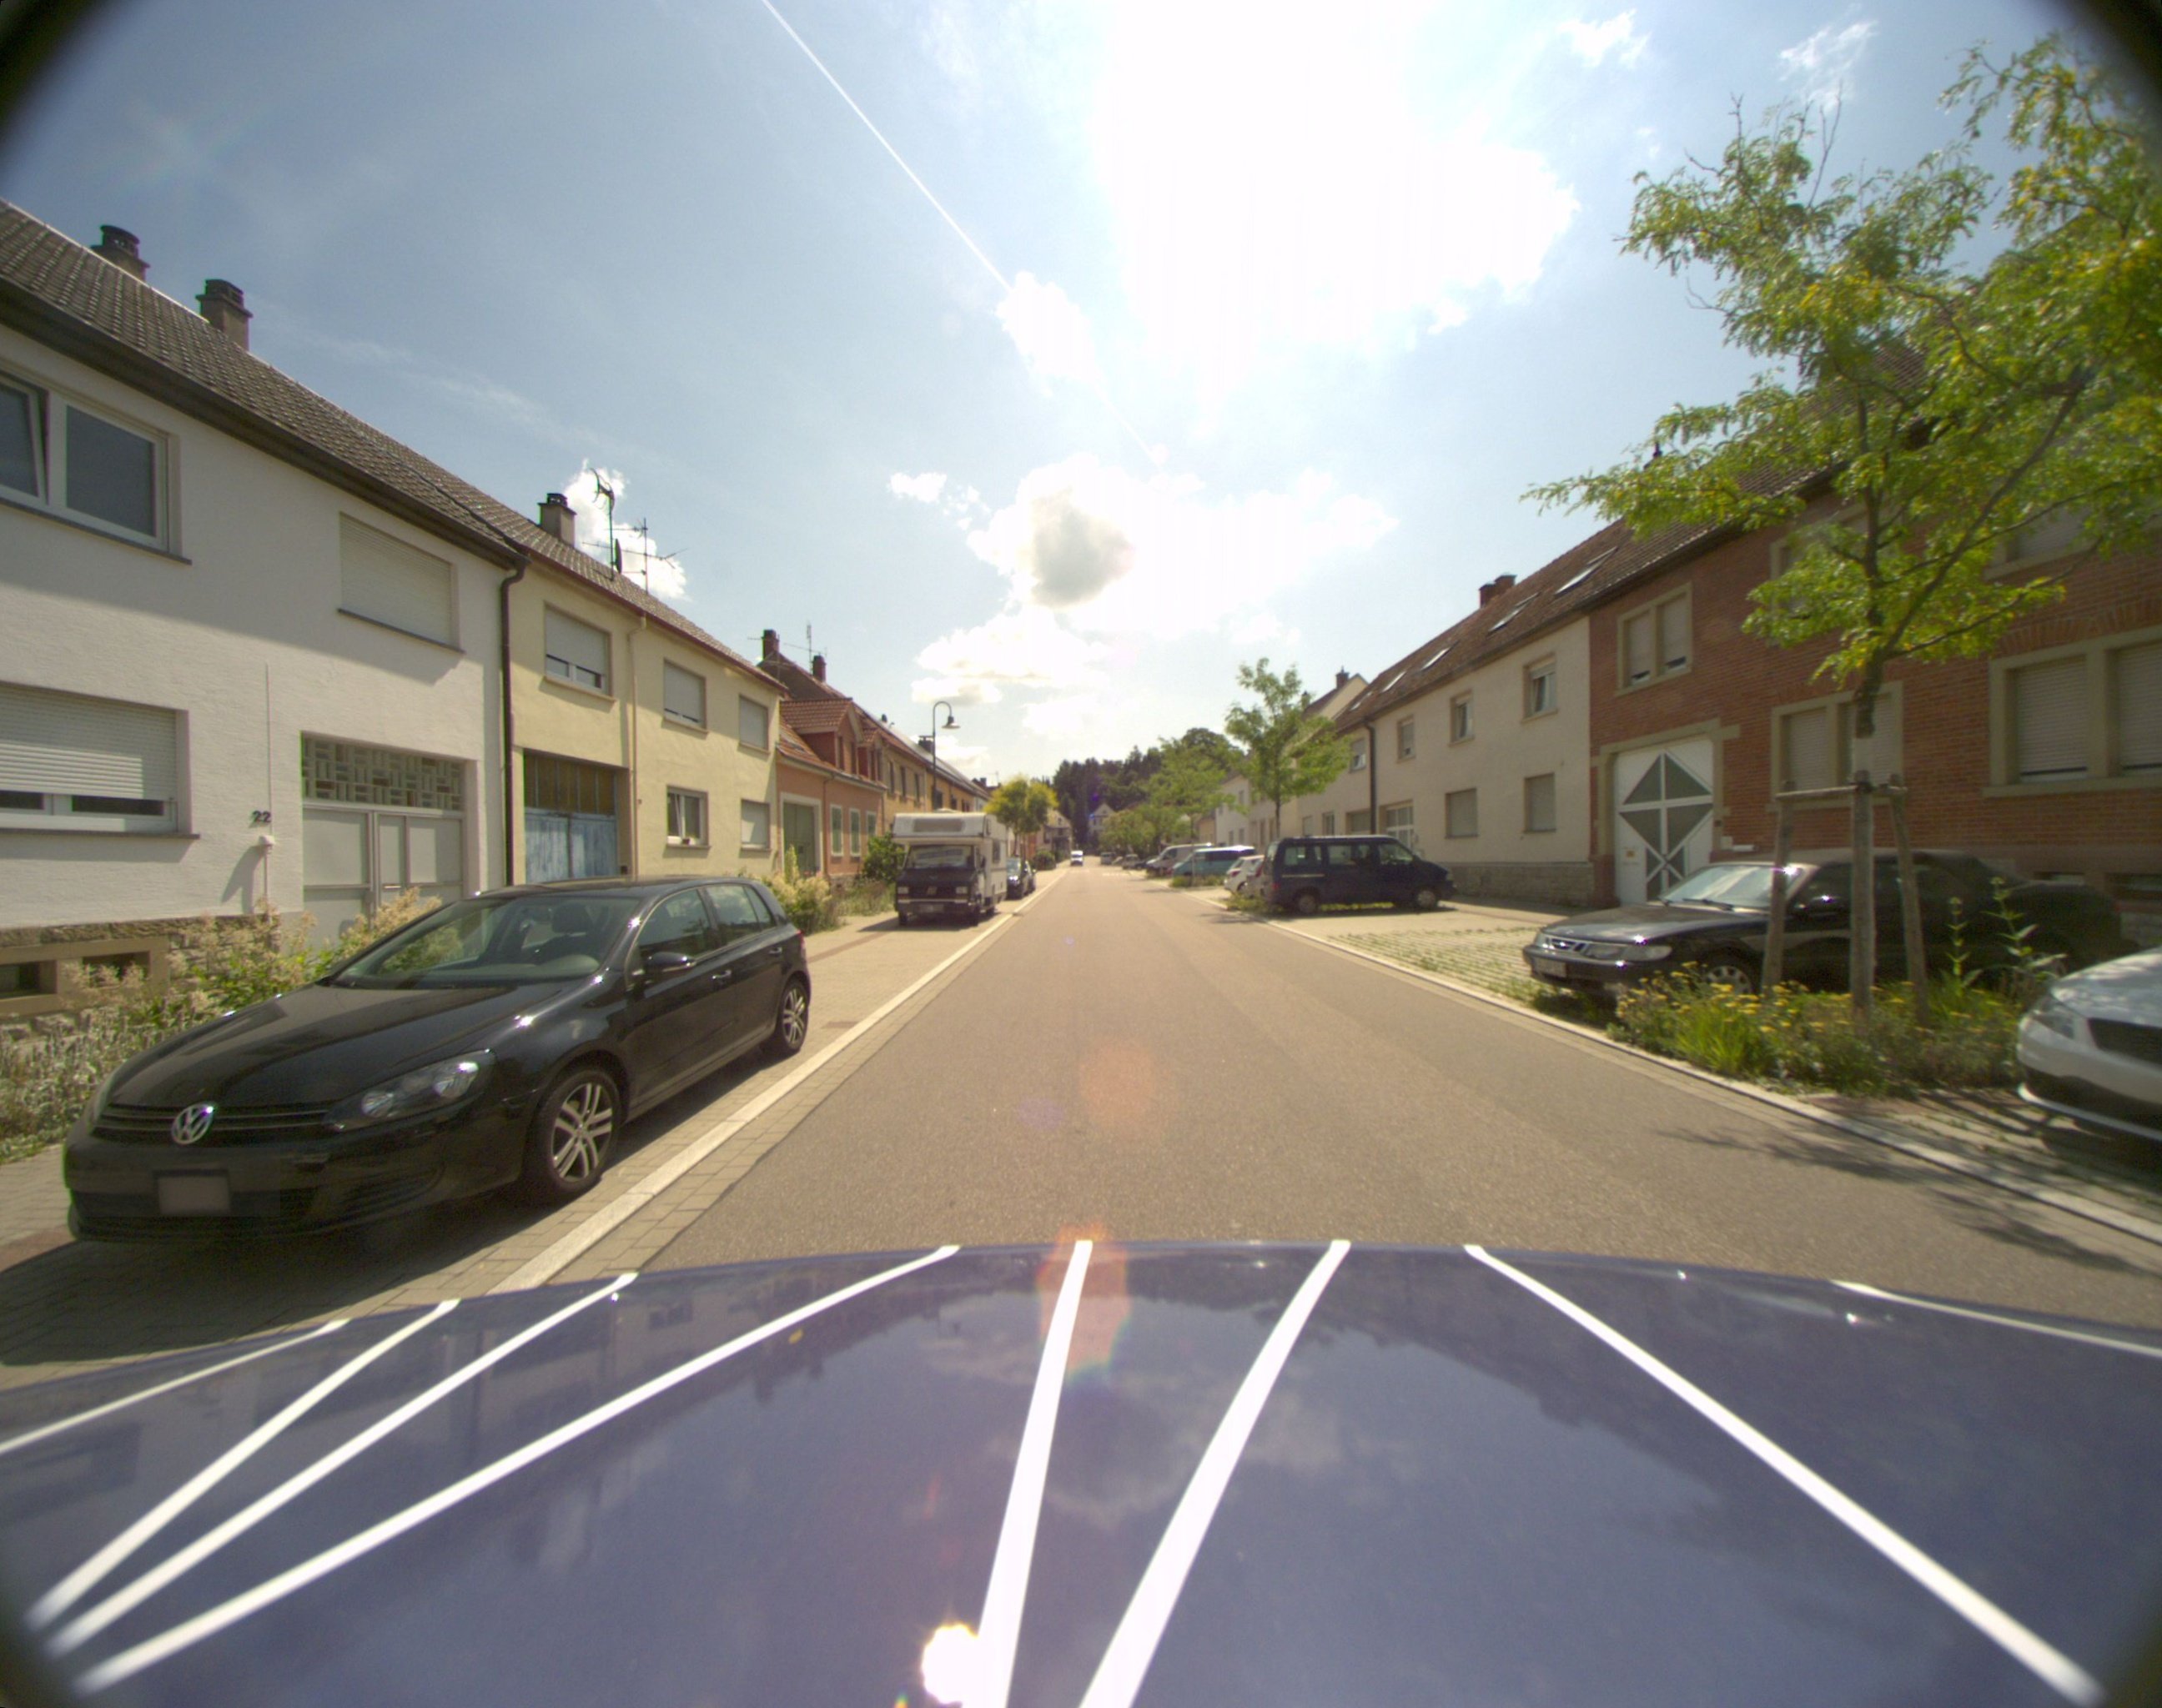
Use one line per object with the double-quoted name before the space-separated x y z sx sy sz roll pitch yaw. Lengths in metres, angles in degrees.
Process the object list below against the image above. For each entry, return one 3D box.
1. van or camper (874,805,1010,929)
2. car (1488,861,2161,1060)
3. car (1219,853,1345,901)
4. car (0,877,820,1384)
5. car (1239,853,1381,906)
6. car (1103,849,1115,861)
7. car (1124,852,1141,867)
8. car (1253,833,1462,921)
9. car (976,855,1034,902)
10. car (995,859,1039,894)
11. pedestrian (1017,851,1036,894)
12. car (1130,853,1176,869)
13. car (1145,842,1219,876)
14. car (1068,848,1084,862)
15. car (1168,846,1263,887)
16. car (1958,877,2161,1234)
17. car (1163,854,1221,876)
"van or camper" -3.393 0.315 20.016 2.479 2.793 5.790 0 0 0
"car" 6.539 0.873 7.042 4.535 1.417 1.796 -2 0 0
"car" 6.982 0.786 26.676 3.925 1.480 1.773 -2 0 2
"car" -3.180 0.984 4.508 1.771 1.520 4.007 -1 0 1
"car" 7.126 0.773 23.930 3.925 1.480 1.773 -2 0 2
"car" 4.955 0.187 135.000 1.999 1.968 3.999 -1 1 0
"car" 6.122 0.659 90.733 1.844 1.737 4.687 -3 -1 2
"car" 6.955 0.572 19.504 4.624 1.984 1.953 -2 0 2
"car" -2.955 0.912 30.375 1.771 1.695 4.325 -1 0 1
"car" -2.946 1.015 35.692 1.771 1.480 4.296 -1 0 -1
"pedestrian" -2.378 0.812 33.090 0.718 1.842 0.578 -1 1 1
"car" 7.463 0.744 78.828 4.598 1.508 1.901 -2 0 0
"car" 7.526 0.396 57.032 5.180 2.275 2.157 -3 0 -1
"car" -0.856 0.135 127.459 2.489 2.306 5.599 -3 1 0
"car" 7.130 0.640 40.700 4.688 1.896 2.000 -3 1 1
"car" 6.645 0.819 3.141 4.064 1.469 1.775 -2 0 -2
"car" 7.757 0.765 53.308 3.792 1.377 1.725 -3 1 1
